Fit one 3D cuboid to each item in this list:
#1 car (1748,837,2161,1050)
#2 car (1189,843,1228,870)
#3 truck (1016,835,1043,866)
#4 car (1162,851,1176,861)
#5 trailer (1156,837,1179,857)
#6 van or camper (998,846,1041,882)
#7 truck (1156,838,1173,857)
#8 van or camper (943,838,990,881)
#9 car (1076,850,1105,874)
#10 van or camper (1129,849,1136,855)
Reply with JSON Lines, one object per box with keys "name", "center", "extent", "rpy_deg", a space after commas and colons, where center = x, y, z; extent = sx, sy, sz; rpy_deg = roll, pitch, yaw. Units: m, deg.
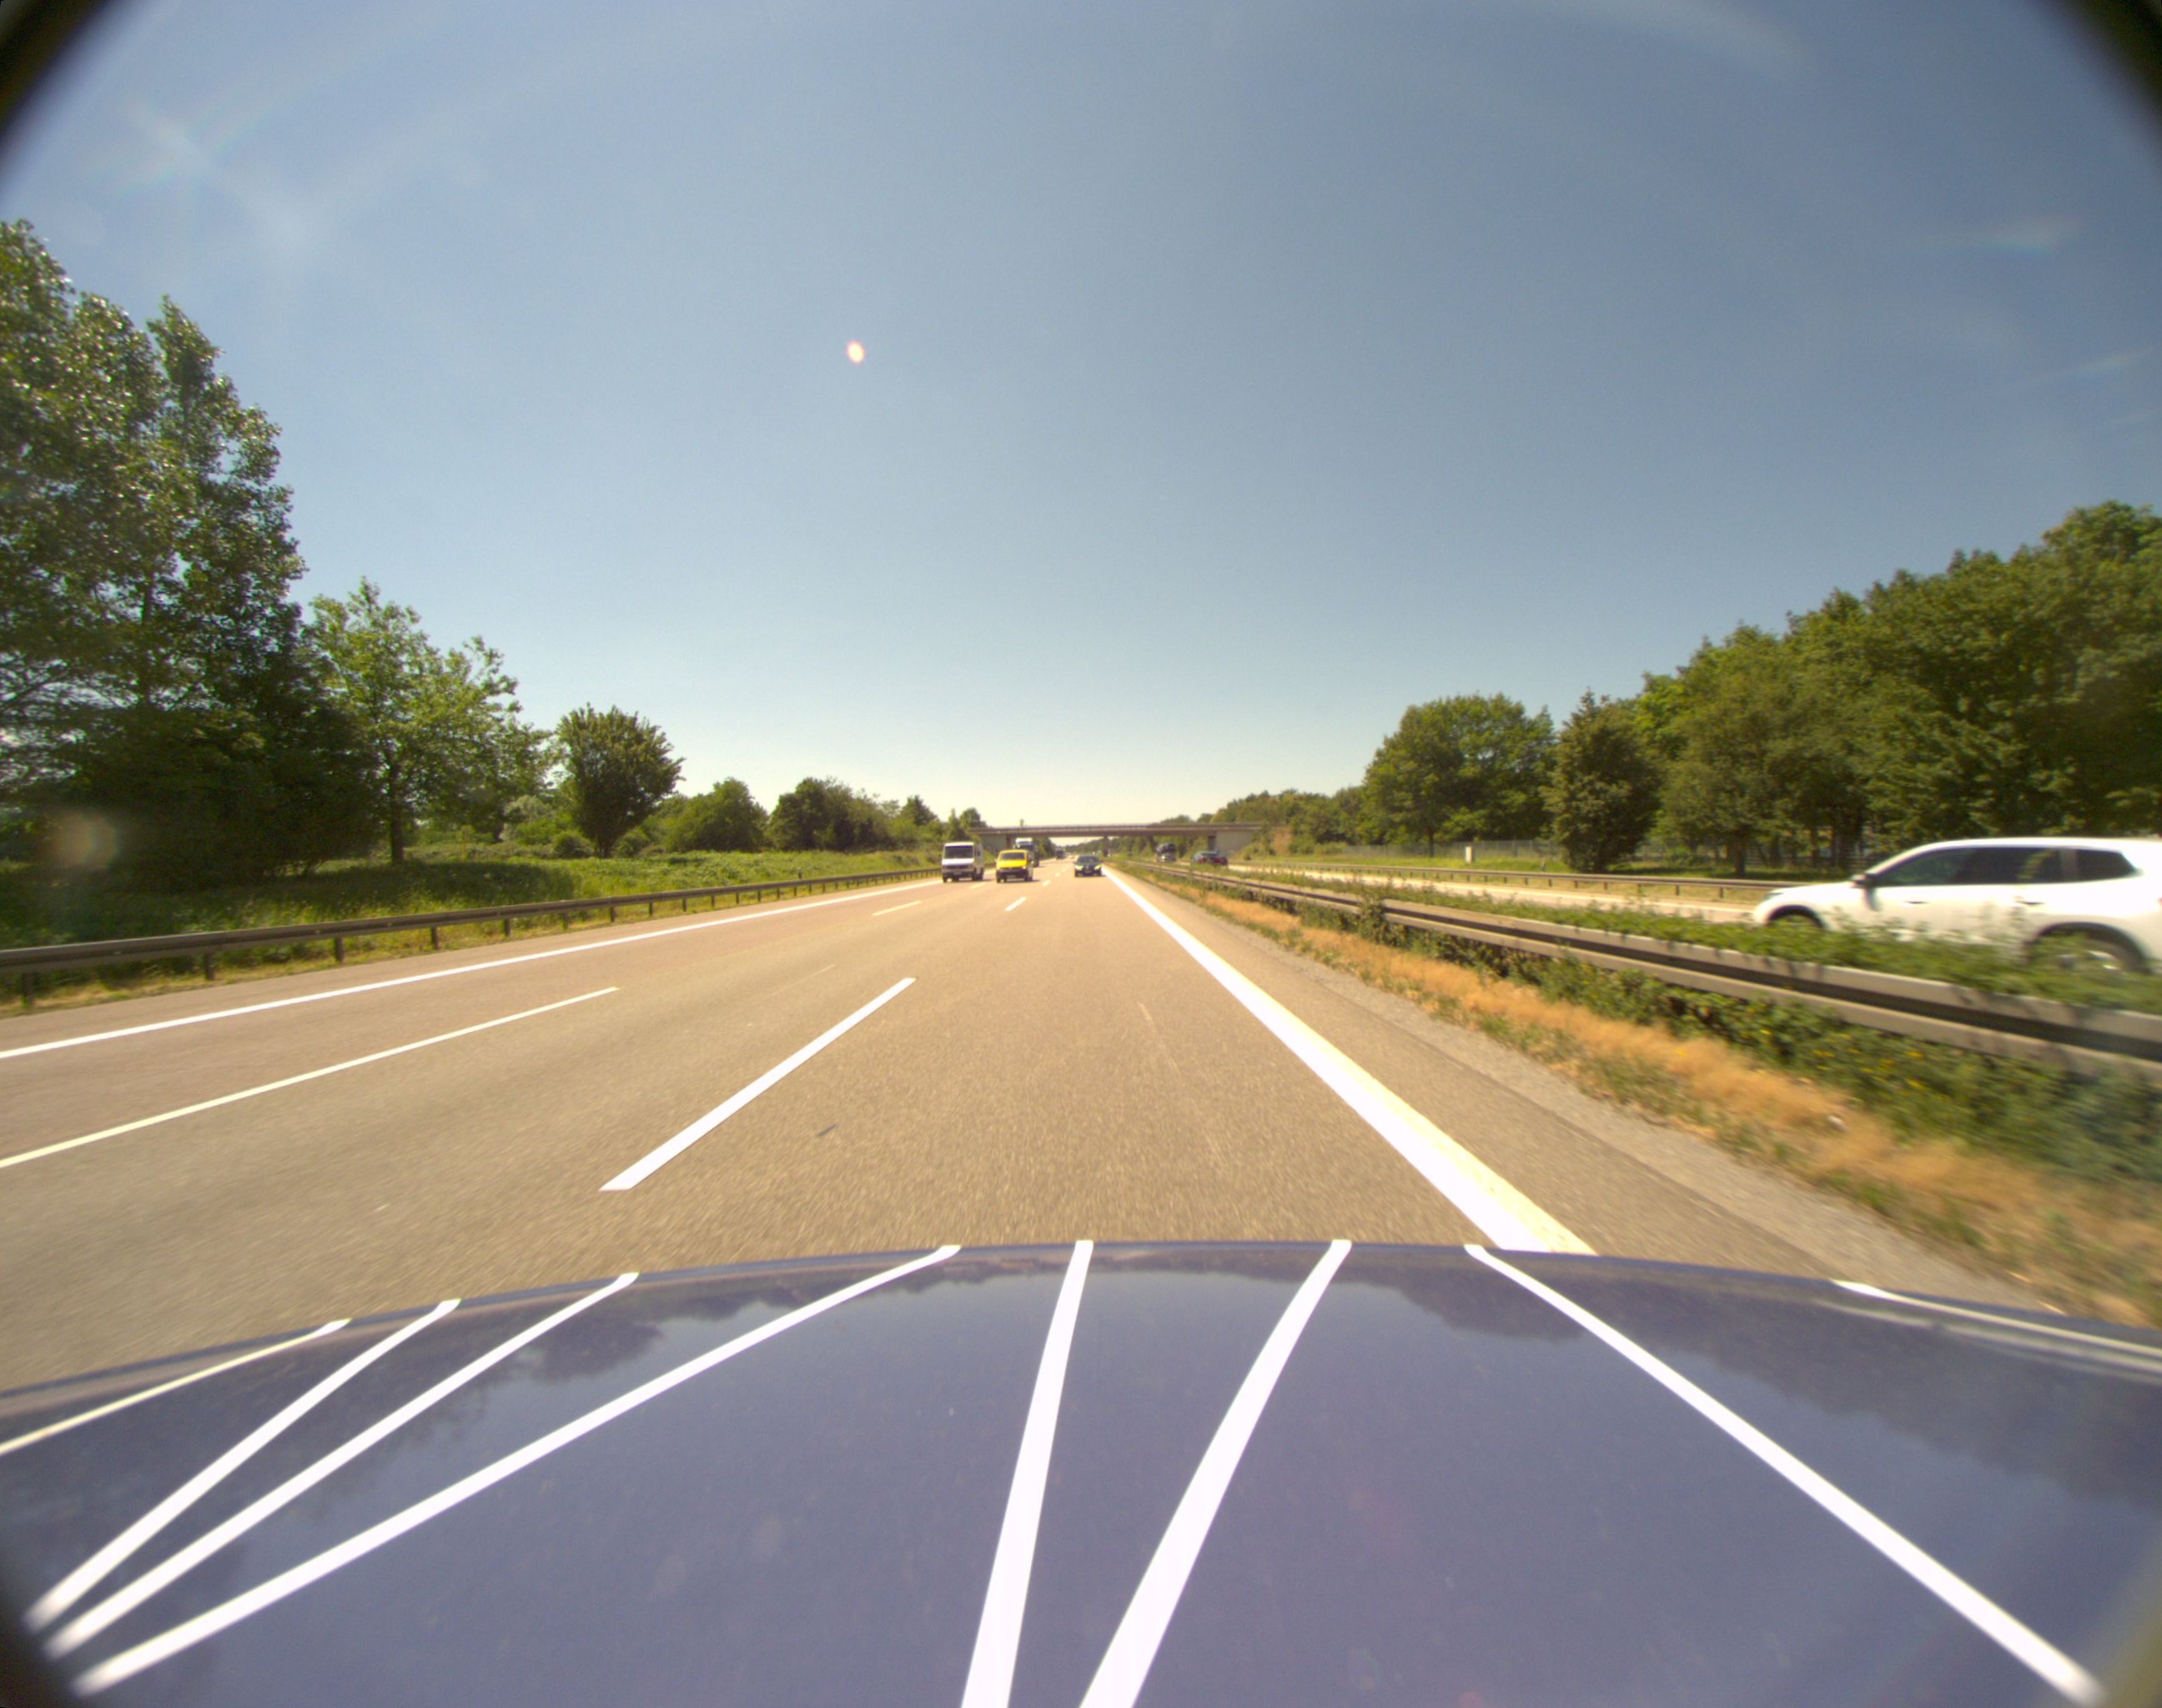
{"name": "car", "center": [9.656, 0.698, 7.571], "extent": [1.998, 1.630, 4.572], "rpy_deg": [-3, 1, 1]}
{"name": "car", "center": [9.807, 0.154, 58.802], "extent": [1.998, 1.875, 5.647], "rpy_deg": [-3, 1, 1]}
{"name": "truck", "center": [-7.135, -0.527, 107.100], "extent": [2.806, 4.022, 13.352], "rpy_deg": [-3, 1, 0]}
{"name": "car", "center": [13.812, 0.258, 119.373], "extent": [1.797, 1.569, 4.211], "rpy_deg": [0, 1, -1]}
{"name": "trailer", "center": [18.474, -1.395, 163.578], "extent": [2.886, 3.955, 17.472], "rpy_deg": [2, 0, 0]}
{"name": "van or camper", "center": [-3.724, 0.559, 46.970], "extent": [2.063, 1.992, 5.883], "rpy_deg": [-2, 0, 1]}
{"name": "truck", "center": [18.619, -1.490, 169.965], "extent": [2.886, 3.952, 7.371], "rpy_deg": [2, 0, 0]}
{"name": "van or camper", "center": [-7.696, 0.312, 51.664], "extent": [2.119, 2.687, 6.366], "rpy_deg": [-2, 1, 0]}
{"name": "car", "center": [0.606, 0.515, 52.450], "extent": [1.894, 1.541, 4.038], "rpy_deg": [1, 1, -1]}
{"name": "van or camper", "center": [16.663, -0.563, 246.084], "extent": [1.999, 1.859, 4.455], "rpy_deg": [1, 1, -1]}
